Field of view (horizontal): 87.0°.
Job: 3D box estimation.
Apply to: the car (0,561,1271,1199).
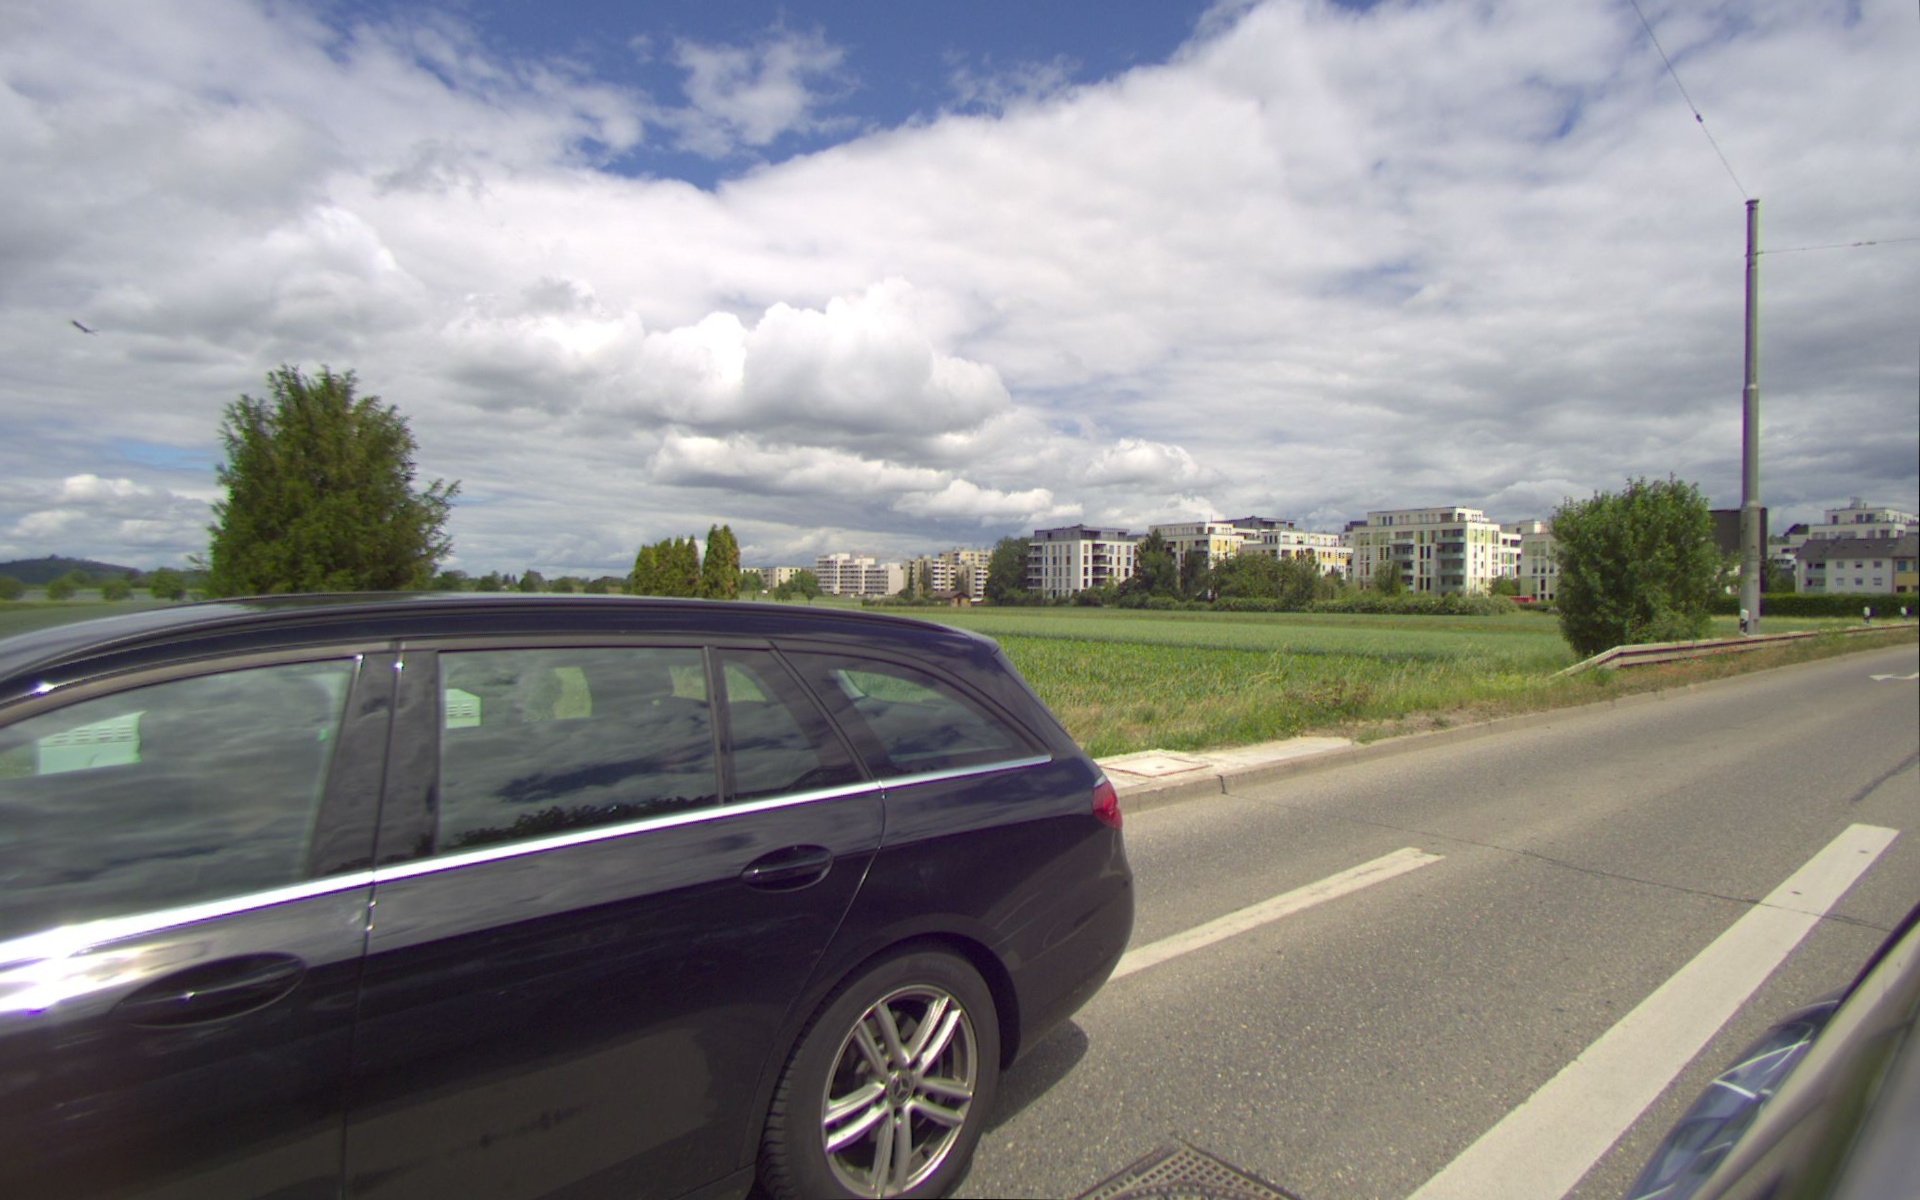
[{"bbox_3d":[-1.533,0.666,2.292,5.109,1.459,1.876,0,1,-41],"label":"car"}]
